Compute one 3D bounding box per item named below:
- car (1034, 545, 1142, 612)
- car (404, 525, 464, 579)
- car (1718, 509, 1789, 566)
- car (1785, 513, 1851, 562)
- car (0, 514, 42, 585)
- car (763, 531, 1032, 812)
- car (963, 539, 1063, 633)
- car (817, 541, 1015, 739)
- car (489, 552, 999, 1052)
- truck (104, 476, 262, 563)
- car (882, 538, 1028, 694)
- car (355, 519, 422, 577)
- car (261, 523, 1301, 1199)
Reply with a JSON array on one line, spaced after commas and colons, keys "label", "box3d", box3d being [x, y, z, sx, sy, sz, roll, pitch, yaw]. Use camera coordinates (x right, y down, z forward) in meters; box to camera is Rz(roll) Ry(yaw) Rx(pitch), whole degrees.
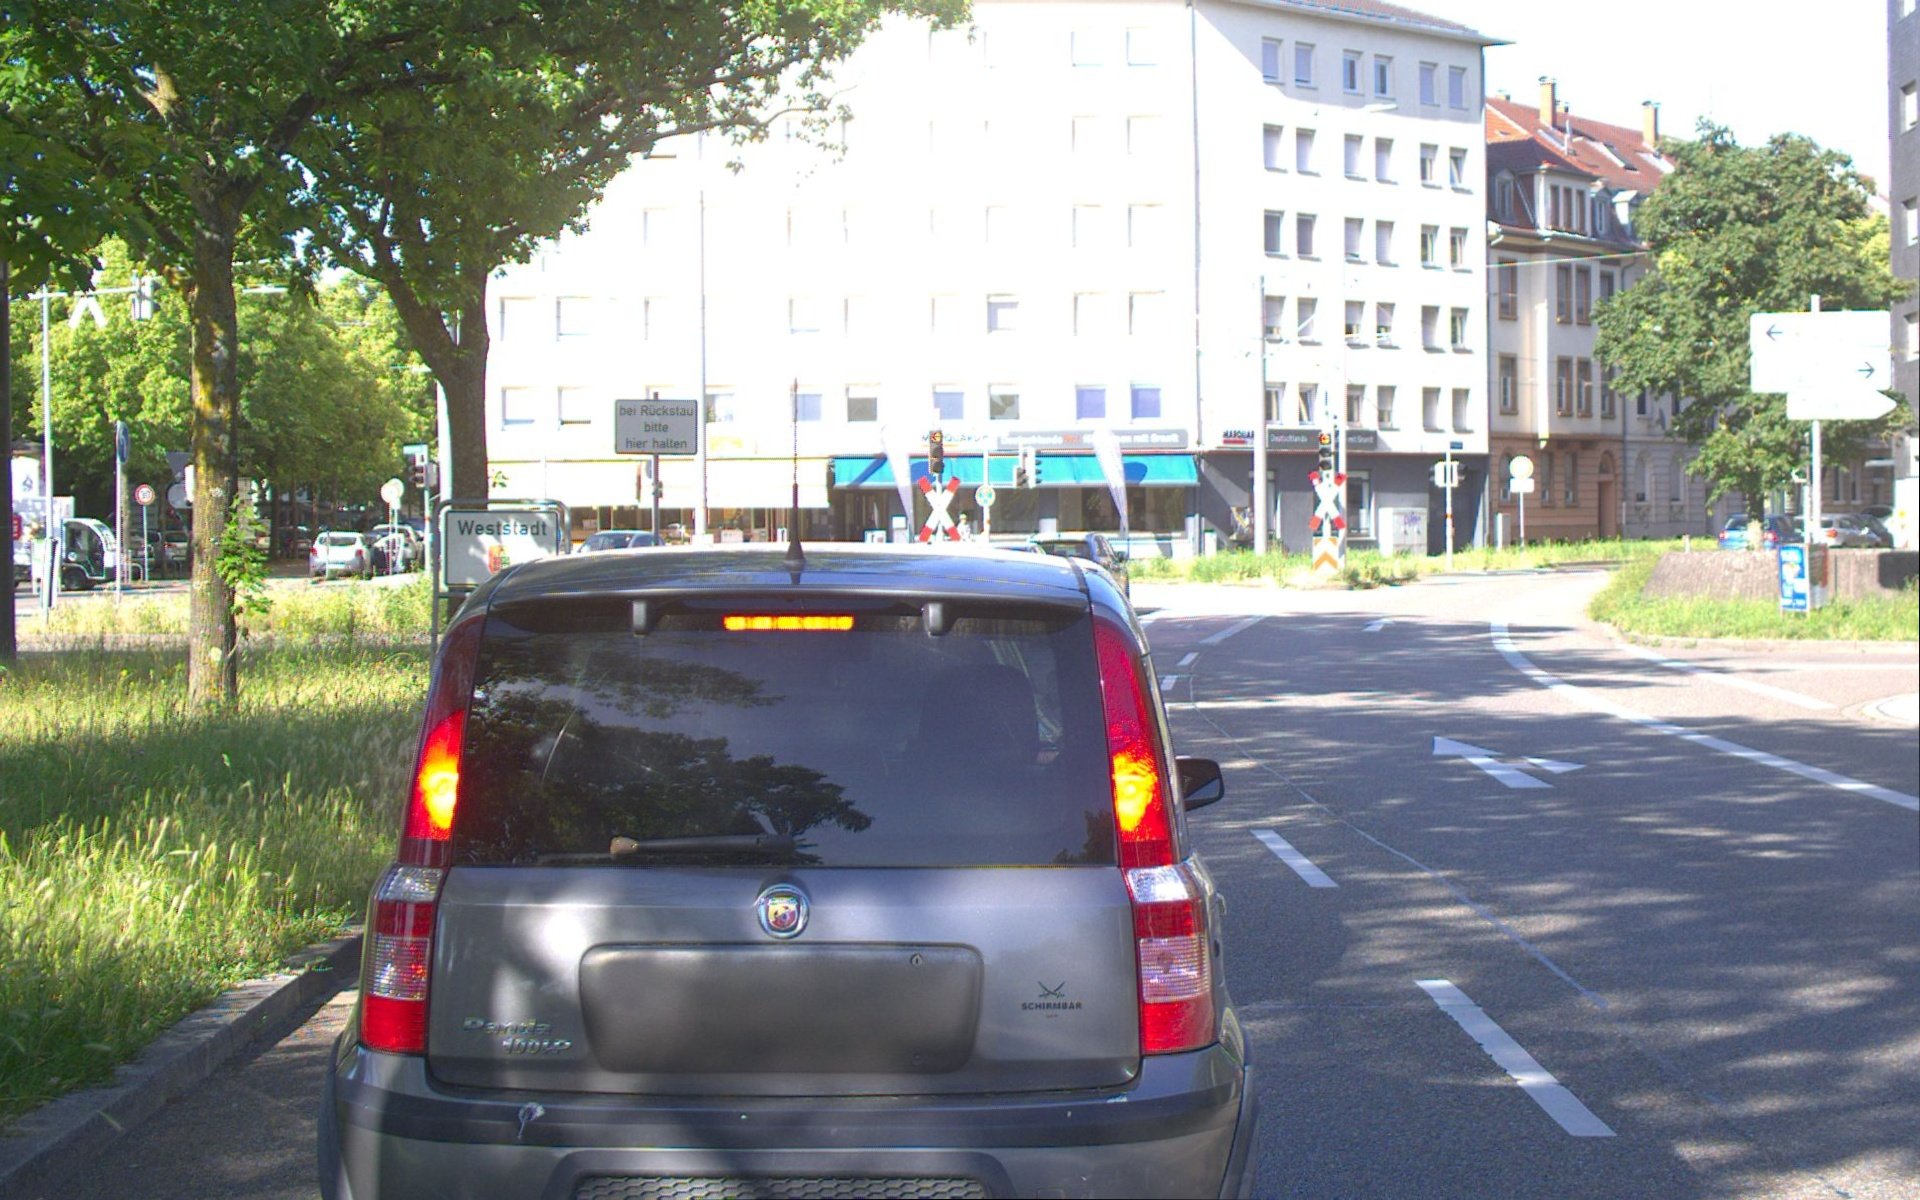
[{"label": "car", "box3d": [2.170, -0.368, 57.674, 1.143, 1.060, 2.719, 0, 1, 17]}, {"label": "car", "box3d": [-20.366, -1.873, 133.307, 1.993, 2.007, 4.001, -1, 1, -4]}, {"label": "car", "box3d": [20.879, -1.659, 90.394, 1.683, 1.444, 3.569, 0, 1, 15]}, {"label": "car", "box3d": [23.448, -1.717, 93.886, 1.528, 1.310, 3.285, 0, 2, 18]}, {"label": "car", "box3d": [-28.541, -1.426, 98.173, 4.176, 2.007, 1.932, -1, 1, -2]}, {"label": "car", "box3d": [-0.360, 0.359, 20.624, 1.463, 1.503, 3.505, 0, 2, -1]}, {"label": "car", "box3d": [0.748, -0.219, 49.600, 1.356, 1.277, 2.876, 0, 1, -1]}, {"label": "car", "box3d": [-0.347, 0.269, 27.290, 1.463, 1.420, 3.381, 0, 2, -1]}, {"label": "car", "box3d": [-0.643, 0.561, 11.644, 1.463, 1.396, 3.393, 0, 1, -1]}, {"label": "truck", "box3d": [-28.882, -2.989, 127.778, 5.485, 3.158, 2.340, 0, 1, 28]}, {"label": "car", "box3d": [-0.061, 0.124, 33.867, 1.356, 1.444, 3.266, -1, 1, -1]}, {"label": "car", "box3d": [-20.517, -1.888, 123.587, 1.993, 2.007, 4.001, -1, 1, -4]}, {"label": "car", "box3d": [-0.300, 0.599, 7.423, 1.628, 1.503, 4.000, -1, 1, -1]}]
